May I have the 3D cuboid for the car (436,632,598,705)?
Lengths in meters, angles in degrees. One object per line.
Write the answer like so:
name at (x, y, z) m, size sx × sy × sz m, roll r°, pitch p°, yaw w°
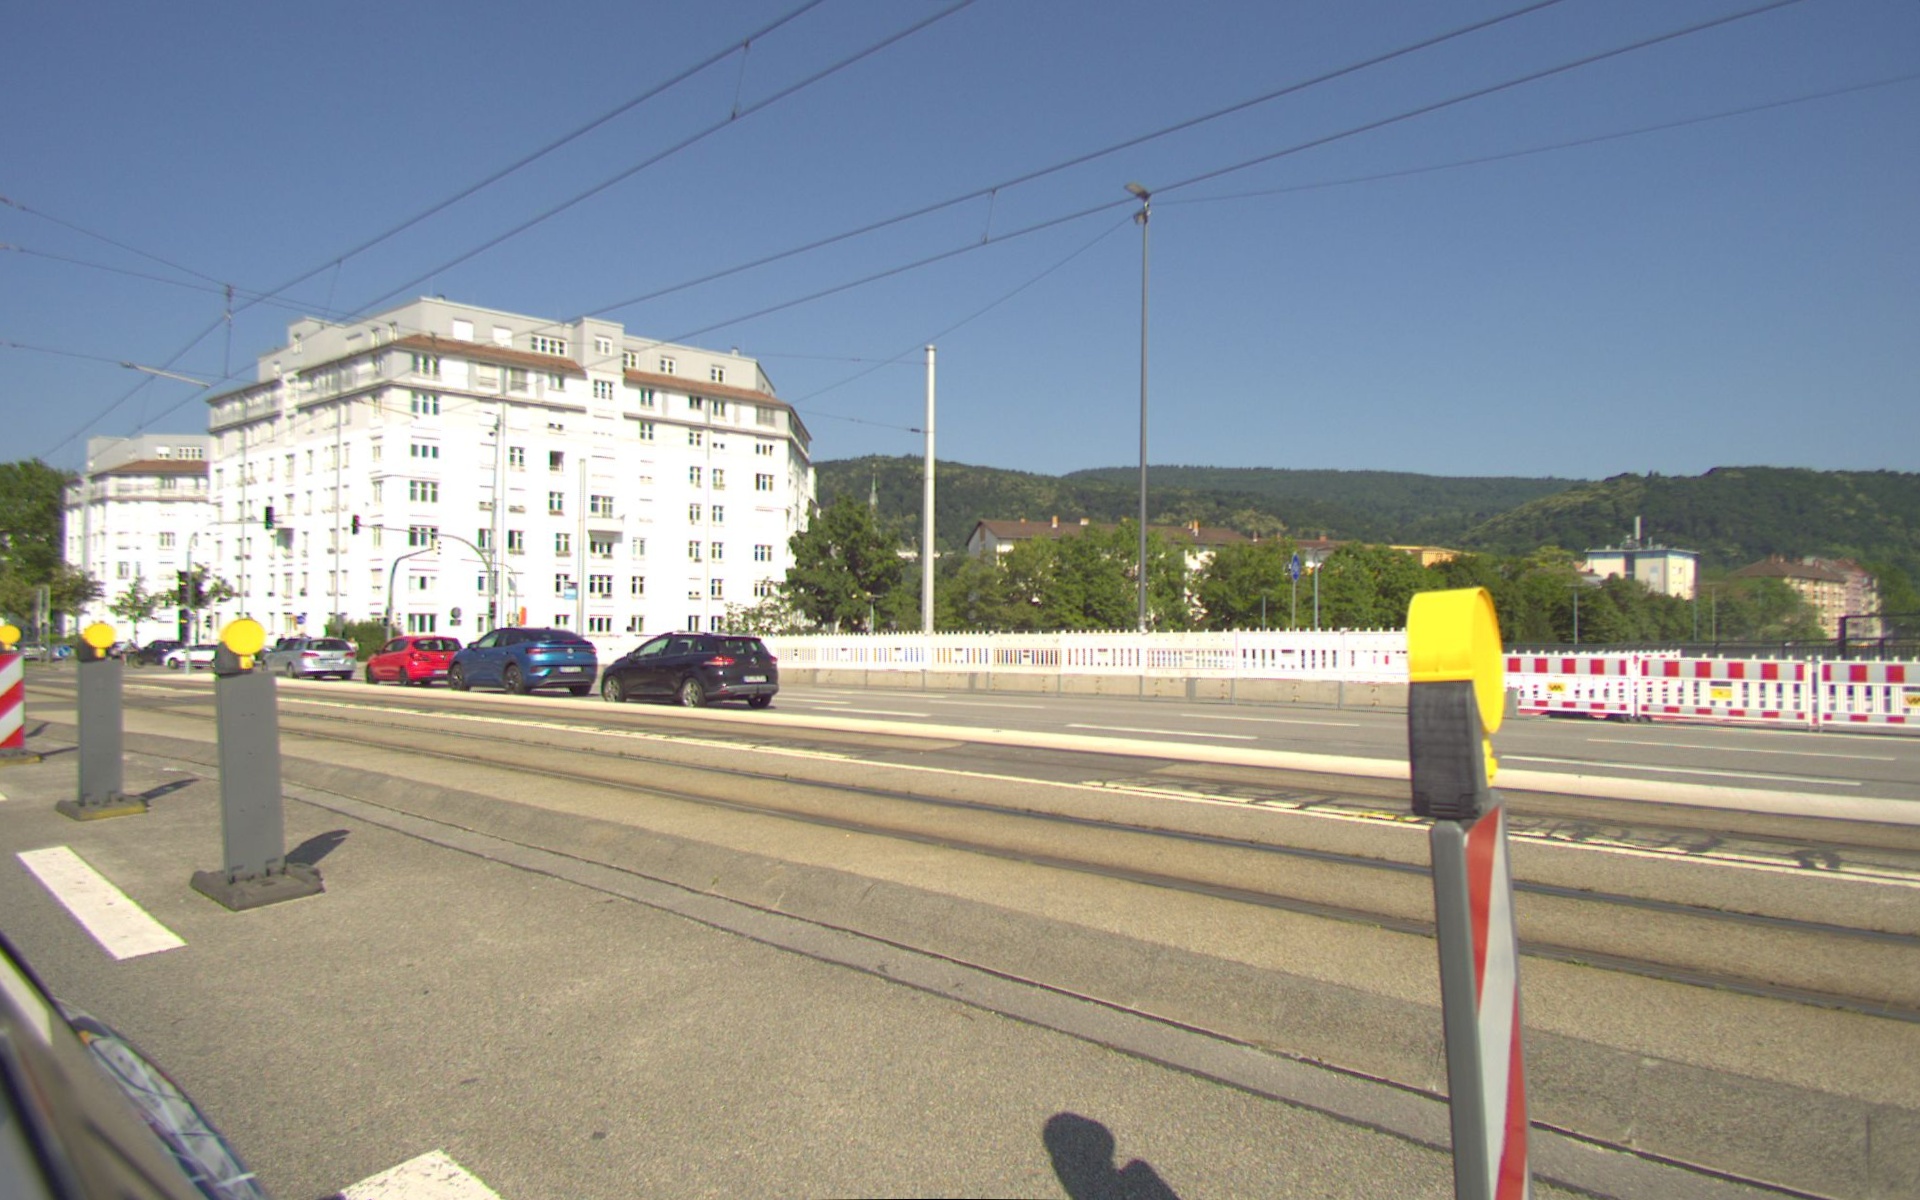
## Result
car at (-10.491, 1.564, 23.819) m, size 4.552 × 1.562 × 1.652 m, roll -2°, pitch -4°, yaw 40°

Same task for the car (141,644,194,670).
car at (-51.941, 3.728, 66.329) m, size 3.732 × 1.650 × 1.719 m, roll -2°, pitch -2°, yaw 35°

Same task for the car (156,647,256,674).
car at (-41.090, 3.288, 55.159) m, size 4.432 × 1.423 × 1.698 m, roll -1°, pitch -2°, yaw 7°

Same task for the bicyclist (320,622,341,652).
bicyclist at (-35.372, 2.074, 56.822) m, size 0.915 × 1.601 × 0.617 m, roll -1°, pitch 2°, yaw 35°

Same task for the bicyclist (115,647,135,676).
bicyclist at (-47.328, 3.489, 57.331) m, size 0.710 × 1.561 × 0.773 m, roll -6°, pitch -4°, yaw 43°

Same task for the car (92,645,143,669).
car at (-59.136, 3.992, 71.034) m, size 3.729 × 1.650 × 1.720 m, roll -2°, pitch -2°, yaw 33°

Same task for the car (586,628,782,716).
car at (-5.358, 1.340, 19.376) m, size 4.174 × 1.512 × 1.490 m, roll -2°, pitch -4°, yaw 40°

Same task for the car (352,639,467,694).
car at (-15.693, 1.852, 28.762) m, size 3.977 × 1.448 × 1.518 m, roll -2°, pitch -4°, yaw 40°

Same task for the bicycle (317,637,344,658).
bicycle at (-35.381, 2.677, 56.866) m, size 1.782 × 1.107 × 0.611 m, roll -1°, pitch 2°, yaw 35°

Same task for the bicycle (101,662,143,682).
bicycle at (-47.390, 4.081, 57.247) m, size 0.710 × 0.998 × 1.793 m, roll -1°, pitch -1°, yaw 44°

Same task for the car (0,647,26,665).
car at (-82.078, 4.838, 87.097) m, size 3.732 × 1.496 × 1.719 m, roll -2°, pitch -2°, yaw 35°

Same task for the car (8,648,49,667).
car at (-76.280, 4.672, 82.874) m, size 3.732 × 1.496 × 1.719 m, roll -2°, pitch -2°, yaw 35°

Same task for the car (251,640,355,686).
car at (-21.991, 2.073, 33.798) m, size 4.640 × 1.448 × 1.621 m, roll -2°, pitch -4°, yaw 40°
